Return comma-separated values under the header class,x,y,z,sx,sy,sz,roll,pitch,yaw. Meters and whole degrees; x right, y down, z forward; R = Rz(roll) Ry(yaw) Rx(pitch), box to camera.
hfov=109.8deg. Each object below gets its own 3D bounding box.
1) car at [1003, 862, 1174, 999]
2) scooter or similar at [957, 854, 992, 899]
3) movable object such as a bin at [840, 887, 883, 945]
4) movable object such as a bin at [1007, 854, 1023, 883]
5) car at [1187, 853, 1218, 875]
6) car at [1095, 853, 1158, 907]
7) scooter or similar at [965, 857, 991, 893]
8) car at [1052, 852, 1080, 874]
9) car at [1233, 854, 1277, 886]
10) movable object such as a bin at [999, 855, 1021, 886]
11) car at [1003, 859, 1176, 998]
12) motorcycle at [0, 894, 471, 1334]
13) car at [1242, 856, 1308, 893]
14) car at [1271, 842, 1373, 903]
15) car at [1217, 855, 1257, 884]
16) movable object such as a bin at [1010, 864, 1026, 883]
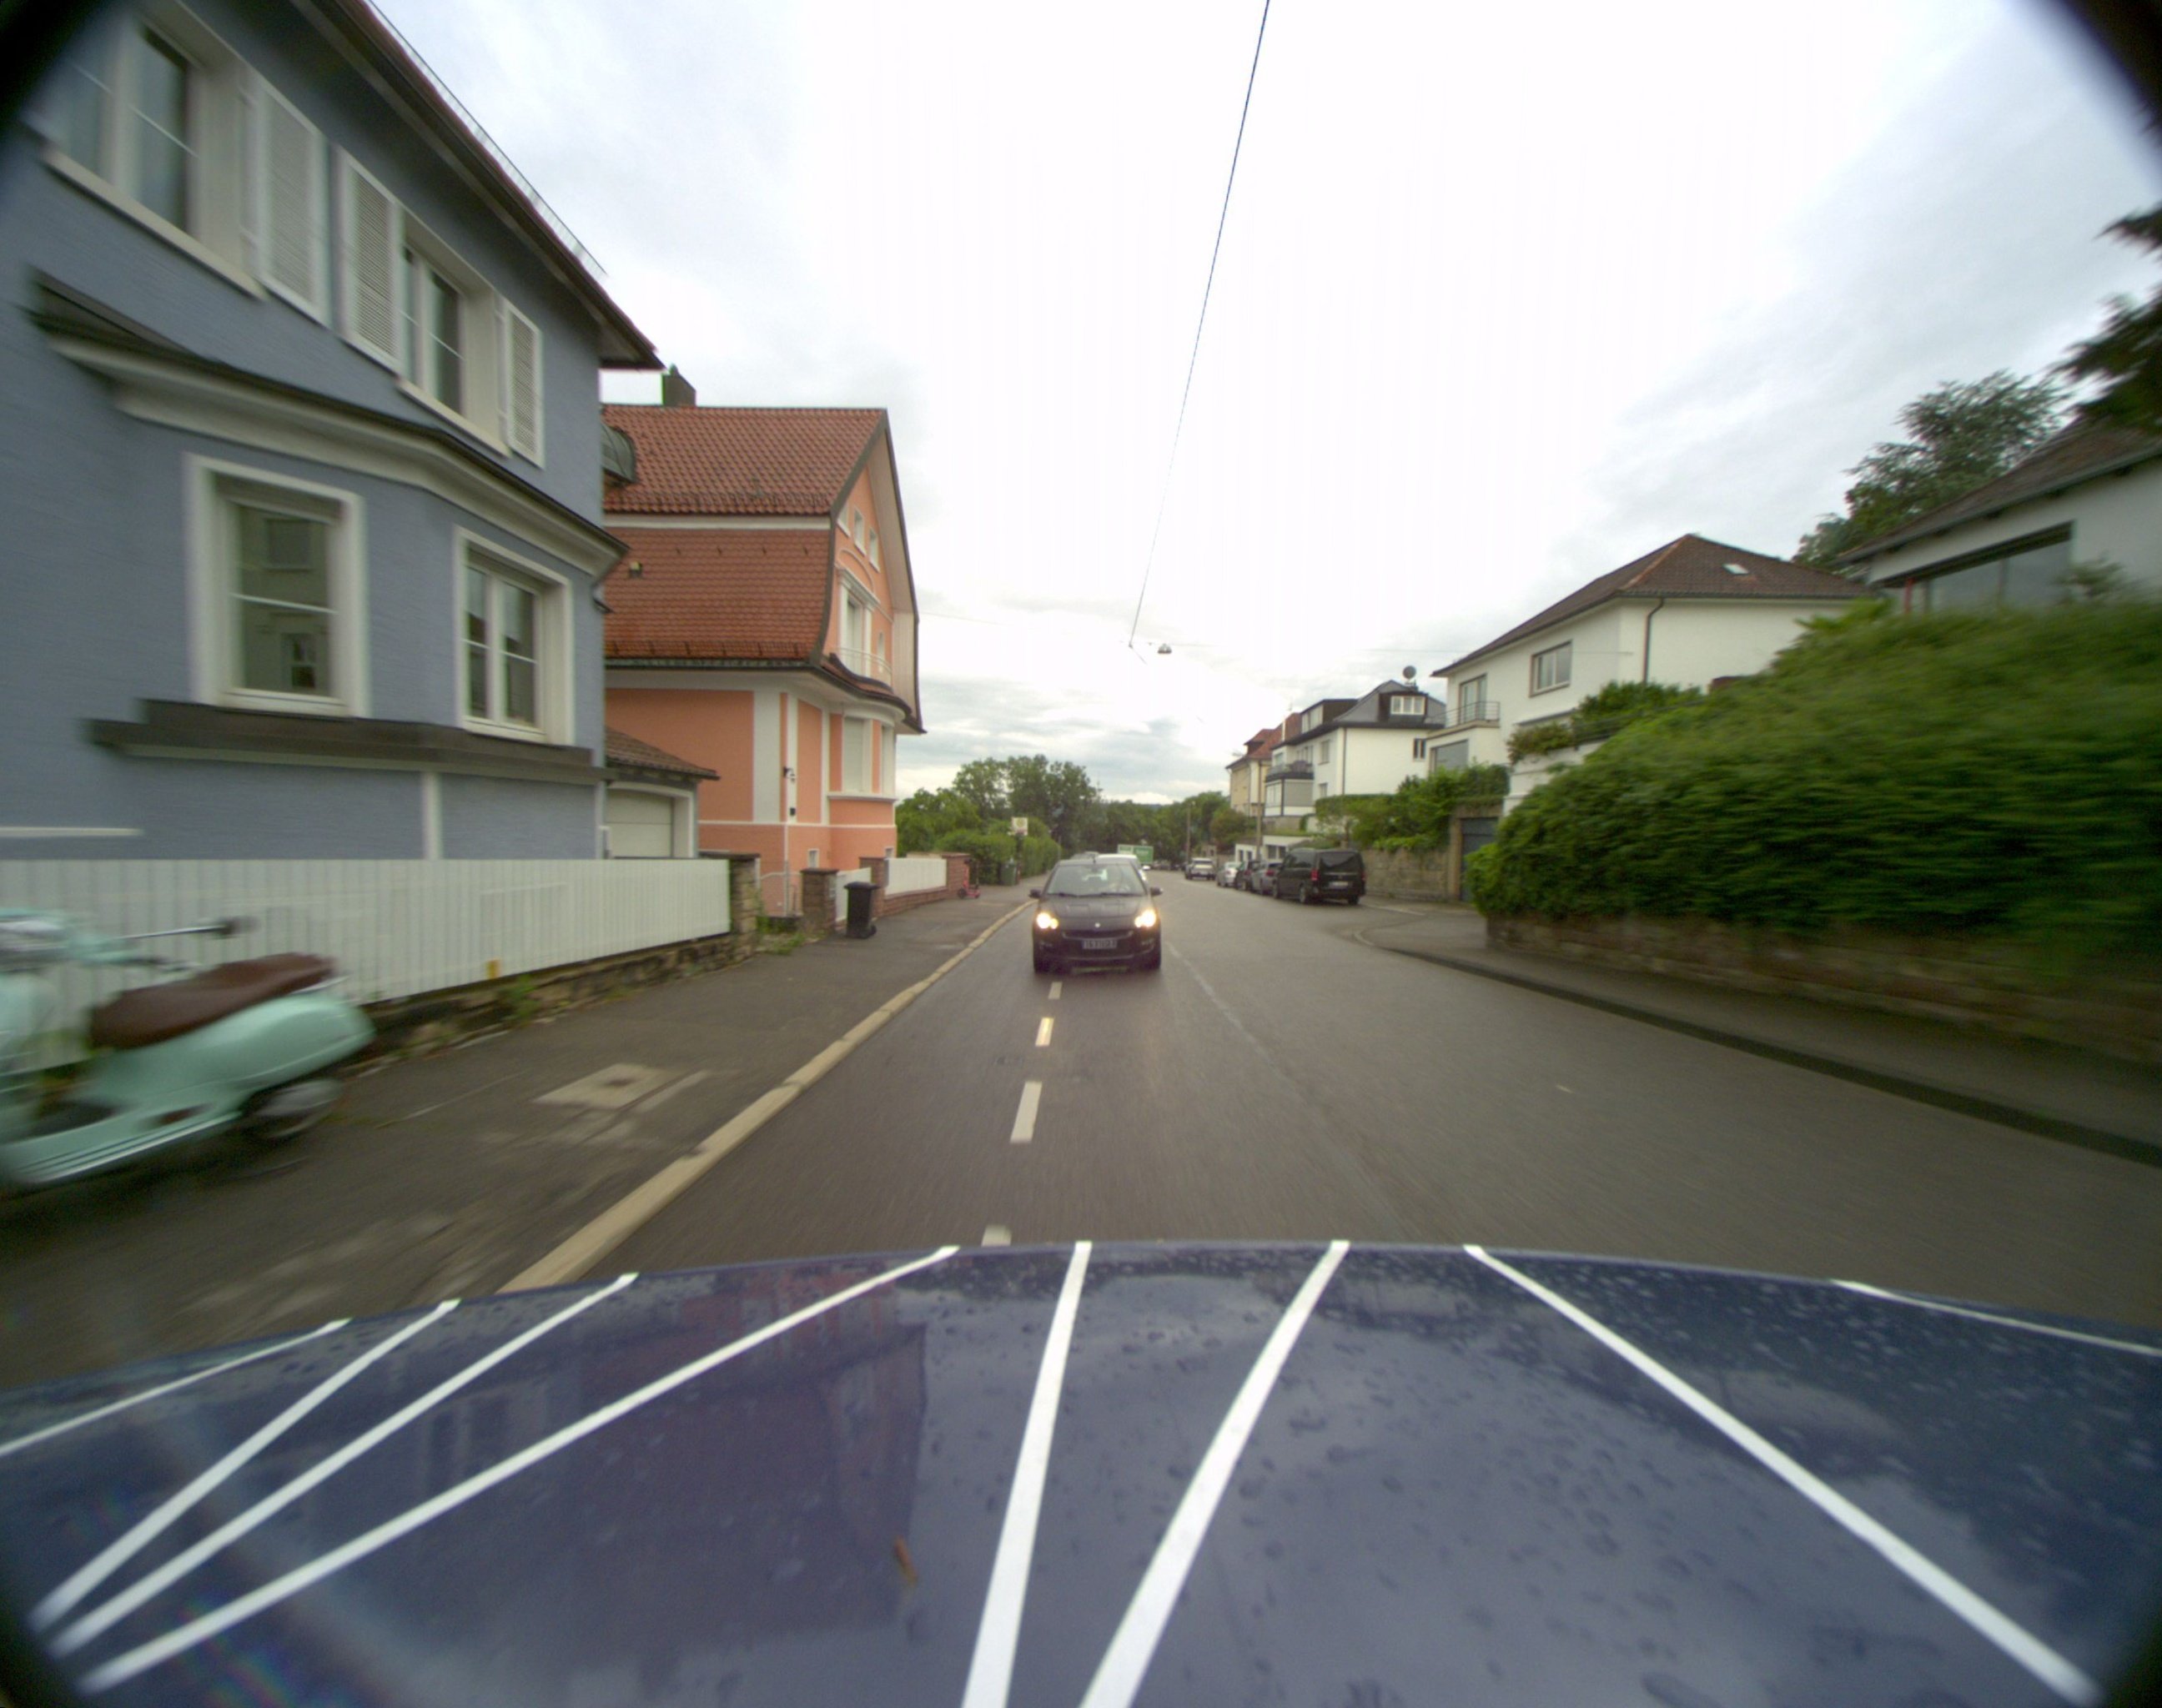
class,x,y,z,sx,sy,sz,roll,pitch,yaw
car,0.313,0.867,10.439,1.710,1.414,4.003,0,1,10
scooter or similar,-3.425,0.703,24.606,0.355,1.394,1.480,0,1,25
movable object such as a bin,-3.662,1.028,12.700,0.533,0.913,0.488,3,1,-1
movable object such as a bin,-2.902,0.637,33.453,0.613,1.239,0.684,0,1,5
car,8.742,0.692,54.839,1.868,1.492,4.000,0,1,3
car,1.427,0.795,25.193,1.928,1.577,4.000,0,1,1
scooter or similar,-3.829,0.768,28.186,0.357,1.265,1.290,-1,3,-37
car,-1.090,0.651,56.326,1.928,1.577,4.000,0,1,1
car,8.572,0.766,37.632,1.521,1.482,2.894,-1,0,1
movable object such as a bin,-3.051,0.693,32.654,0.726,1.239,0.917,3,1,5
car,0.319,0.851,10.427,1.695,1.482,3.943,-1,0,10
motorcycle,-3.641,0.863,2.880,0.694,1.219,2.154,7,1,5
car,8.382,0.847,33.238,1.696,1.482,4.402,-1,0,-1
car,8.476,0.599,27.183,1.999,1.945,4.773,-1,0,-2
car,8.616,0.847,42.230,1.594,1.482,3.437,-1,0,2
movable object such as a bin,-2.843,0.869,34.106,0.613,0.858,0.590,0,1,5
